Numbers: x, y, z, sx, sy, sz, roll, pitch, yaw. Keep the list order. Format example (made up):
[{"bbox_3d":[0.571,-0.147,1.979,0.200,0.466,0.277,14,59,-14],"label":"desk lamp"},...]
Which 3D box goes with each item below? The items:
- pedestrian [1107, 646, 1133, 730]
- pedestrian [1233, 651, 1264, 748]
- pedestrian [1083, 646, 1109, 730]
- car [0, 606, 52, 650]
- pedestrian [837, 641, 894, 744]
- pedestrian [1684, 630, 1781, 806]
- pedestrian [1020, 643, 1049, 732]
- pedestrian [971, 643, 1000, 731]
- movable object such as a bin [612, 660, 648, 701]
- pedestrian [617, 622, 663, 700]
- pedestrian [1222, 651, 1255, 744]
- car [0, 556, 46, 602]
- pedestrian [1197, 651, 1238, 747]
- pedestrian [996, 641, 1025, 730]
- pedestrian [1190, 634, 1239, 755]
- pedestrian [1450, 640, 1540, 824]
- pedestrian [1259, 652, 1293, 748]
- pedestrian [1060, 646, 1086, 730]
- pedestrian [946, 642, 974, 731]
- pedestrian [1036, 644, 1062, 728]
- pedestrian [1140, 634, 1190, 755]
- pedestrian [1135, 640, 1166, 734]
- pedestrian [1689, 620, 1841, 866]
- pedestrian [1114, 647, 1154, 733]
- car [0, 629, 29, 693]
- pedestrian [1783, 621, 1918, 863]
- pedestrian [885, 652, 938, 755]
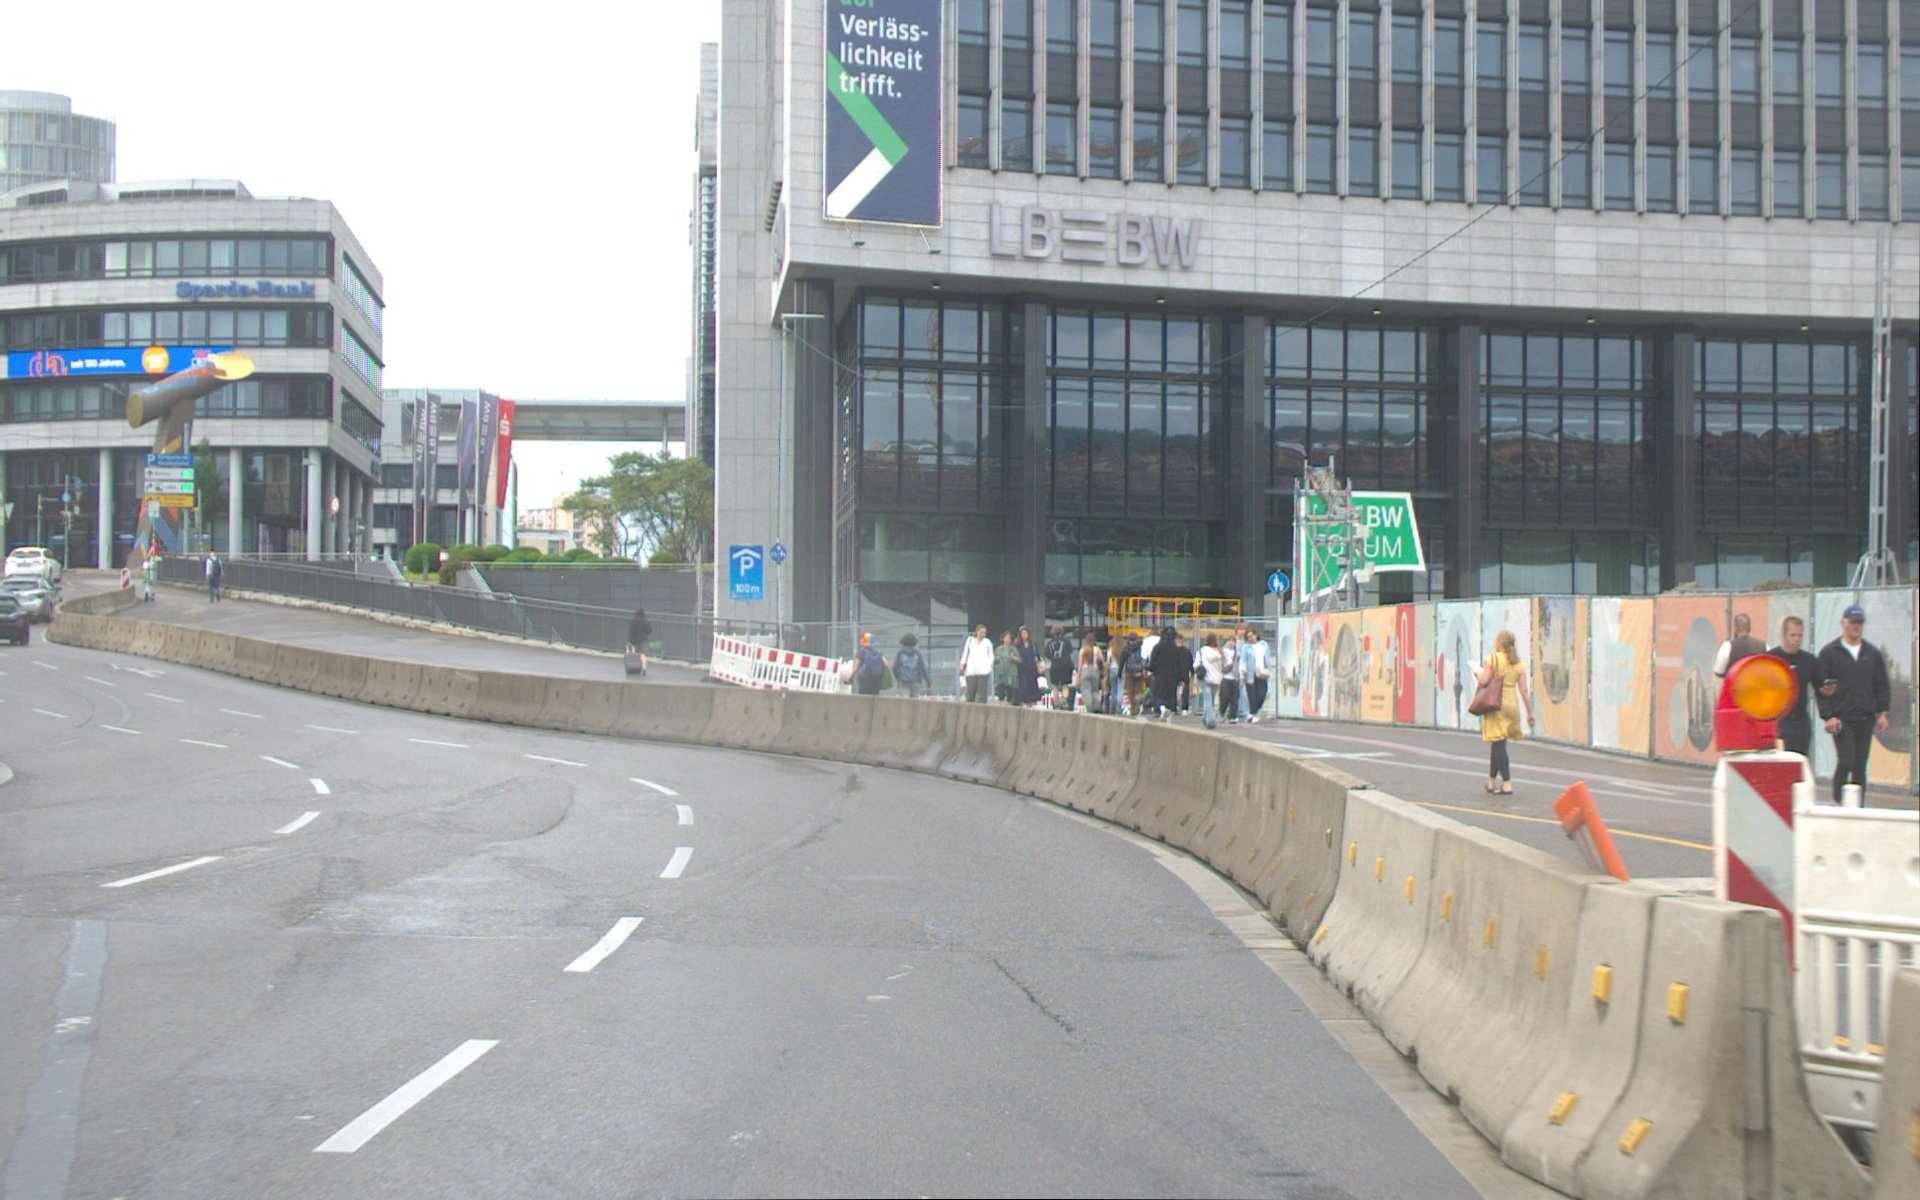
[{"bbox_3d":[3.244,1.785,69.850,0.448,1.699,0.646,1,-1,7],"label":"pedestrian"},{"bbox_3d":[5.142,1.768,61.314,0.448,1.699,0.647,1,-1,-3],"label":"pedestrian"},{"bbox_3d":[2.769,1.787,69.929,0.448,1.699,0.646,1,-1,7],"label":"pedestrian"},{"bbox_3d":[-29.904,0.886,109.467,1.824,1.348,3.866,1,0,-16],"label":"car"},{"bbox_3d":[-1.525,1.492,55.443,0.750,1.636,0.823,1,-1,-13],"label":"pedestrian"},{"bbox_3d":[8.277,1.259,36.848,0.779,1.855,0.811,0,-1,-5],"label":"pedestrian"},{"bbox_3d":[1.450,1.698,66.801,0.448,1.699,0.647,1,-1,-6],"label":"pedestrian"},{"bbox_3d":[0.496,1.678,66.670,0.448,1.699,0.647,1,-1,-6],"label":"pedestrian"},{"bbox_3d":[-7.641,1.862,79.587,0.598,0.930,0.742,2,-2,-23],"label":"movable object such as a bin"},{"bbox_3d":[-7.460,1.422,80.059,0.756,1.784,1.057,2,-2,-22],"label":"pedestrian"},{"bbox_3d":[5.138,1.798,63.457,0.500,1.699,0.733,1,-1,-3],"label":"pedestrian"},{"bbox_3d":[-38.276,-0.837,139.915,1.993,1.798,4.266,1,-1,-15],"label":"car"},{"bbox_3d":[4.586,1.763,61.301,0.625,1.699,0.647,1,-1,-3],"label":"pedestrian"},{"bbox_3d":[0.978,1.658,66.745,0.453,1.699,0.647,1,-1,-6],"label":"pedestrian"},{"bbox_3d":[4.273,1.576,57.727,0.784,2.007,0.863,1,-1,5],"label":"pedestrian"},{"bbox_3d":[5.447,1.339,35.038,0.732,1.848,0.831,1,-2,-3],"label":"pedestrian"},{"bbox_3d":[5.639,1.774,61.357,0.502,1.699,0.647,1,-1,-3],"label":"pedestrian"},{"bbox_3d":[2.296,1.792,69.998,0.448,1.699,0.646,1,-1,7],"label":"pedestrian"},{"bbox_3d":[0.003,1.675,66.618,0.448,1.699,0.647,1,-1,-6],"label":"pedestrian"},{"bbox_3d":[1.816,1.747,70.061,0.448,1.699,0.646,1,-1,7],"label":"pedestrian"},{"bbox_3d":[3.459,1.589,57.988,0.784,2.007,0.863,1,-1,5],"label":"pedestrian"},{"bbox_3d":[3.731,1.703,67.311,0.529,1.812,0.536,1,-1,-2],"label":"pedestrian"},{"bbox_3d":[6.104,1.076,26.126,0.819,1.821,1.111,0,-2,-4],"label":"pedestrian"},{"bbox_3d":[3.464,1.784,68.436,0.511,1.699,0.574,2,-1,-39],"label":"pedestrian"},{"bbox_3d":[-25.429,1.586,89.461,1.674,1.503,3.745,2,-4,-25],"label":"car"},{"bbox_3d":[6.971,1.103,26.941,0.779,1.856,0.811,1,-1,-5],"label":"pedestrian"},{"bbox_3d":[-0.785,1.671,55.633,0.658,1.636,0.823,1,-1,-13],"label":"pedestrian"}]
